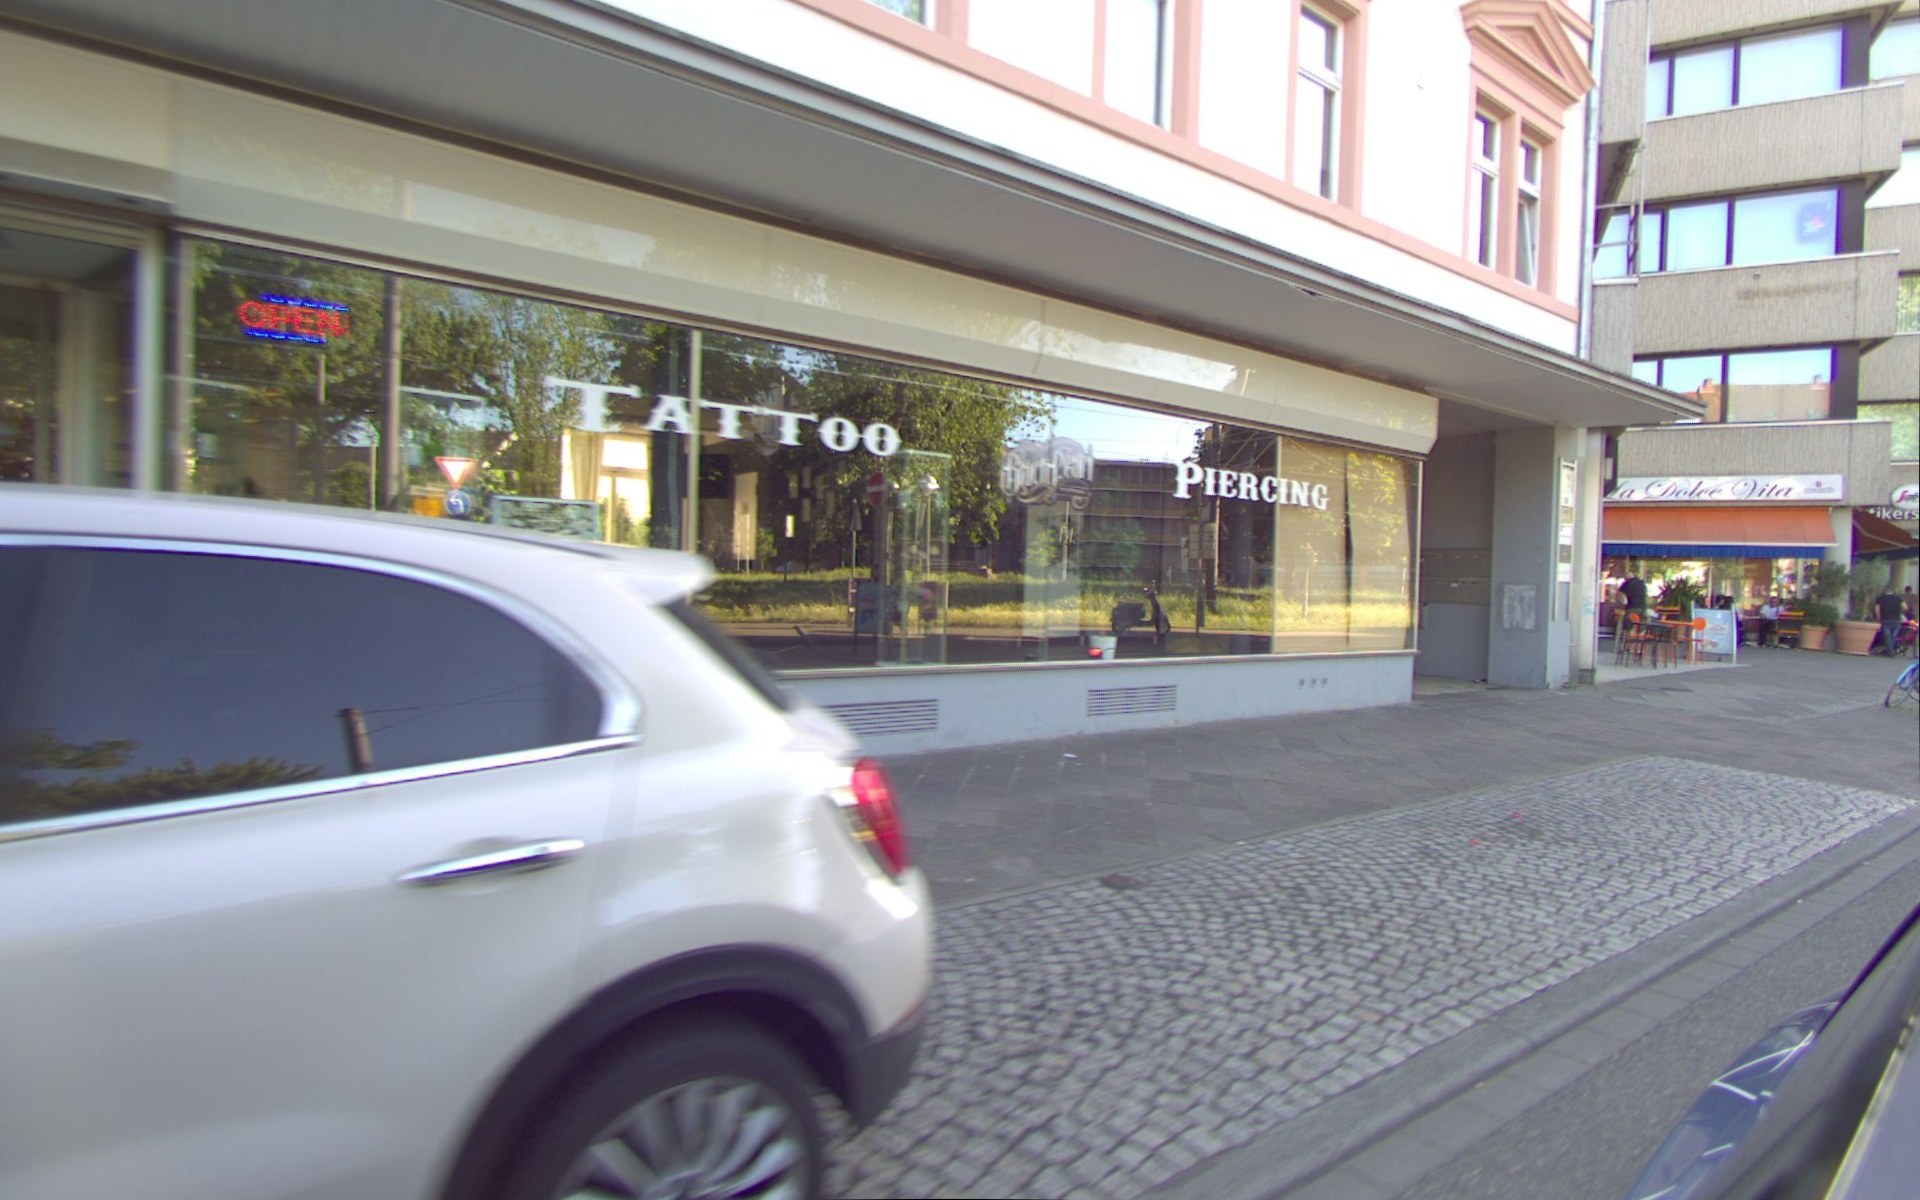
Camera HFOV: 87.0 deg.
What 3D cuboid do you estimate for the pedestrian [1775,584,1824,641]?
[{"bbox_3d":[20.610,0.287,24.853,0.841,1.307,0.819,4,4,42],"label":"pedestrian"}]

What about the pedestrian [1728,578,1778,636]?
[{"bbox_3d":[19.911,0.159,25.438,0.836,1.420,0.823,1,0,29],"label":"pedestrian"}]

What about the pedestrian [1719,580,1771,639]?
[{"bbox_3d":[19.249,0.227,24.830,0.835,1.420,0.747,0,-1,24],"label":"pedestrian"}]

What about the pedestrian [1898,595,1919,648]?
[{"bbox_3d":[23.713,0.532,24.984,0.612,1.251,0.632,-1,4,-33],"label":"pedestrian"}]

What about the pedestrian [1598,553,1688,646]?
[{"bbox_3d":[13.445,-0.023,19.949,1.112,1.764,1.024,-1,1,-23],"label":"pedestrian"}]

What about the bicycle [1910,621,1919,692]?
[{"bbox_3d":[14.470,0.835,14.162,0.419,1.016,1.713,-1,1,-20],"label":"bicycle"}]

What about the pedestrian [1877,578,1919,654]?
[{"bbox_3d":[22.386,0.365,23.878,0.836,1.731,0.713,3,2,26],"label":"pedestrian"}]

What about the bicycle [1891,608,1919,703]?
[{"bbox_3d":[13.362,0.757,13.245,0.645,1.258,1.630,-1,1,-16],"label":"bicycle"}]

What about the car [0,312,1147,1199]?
[{"bbox_3d":[-2.026,0.538,1.641,4.869,1.760,1.750,-1,1,-37],"label":"car"}]

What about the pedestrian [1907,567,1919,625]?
[{"bbox_3d":[31.174,-0.133,32.744,0.702,1.838,0.707,0,0,37],"label":"pedestrian"}]
